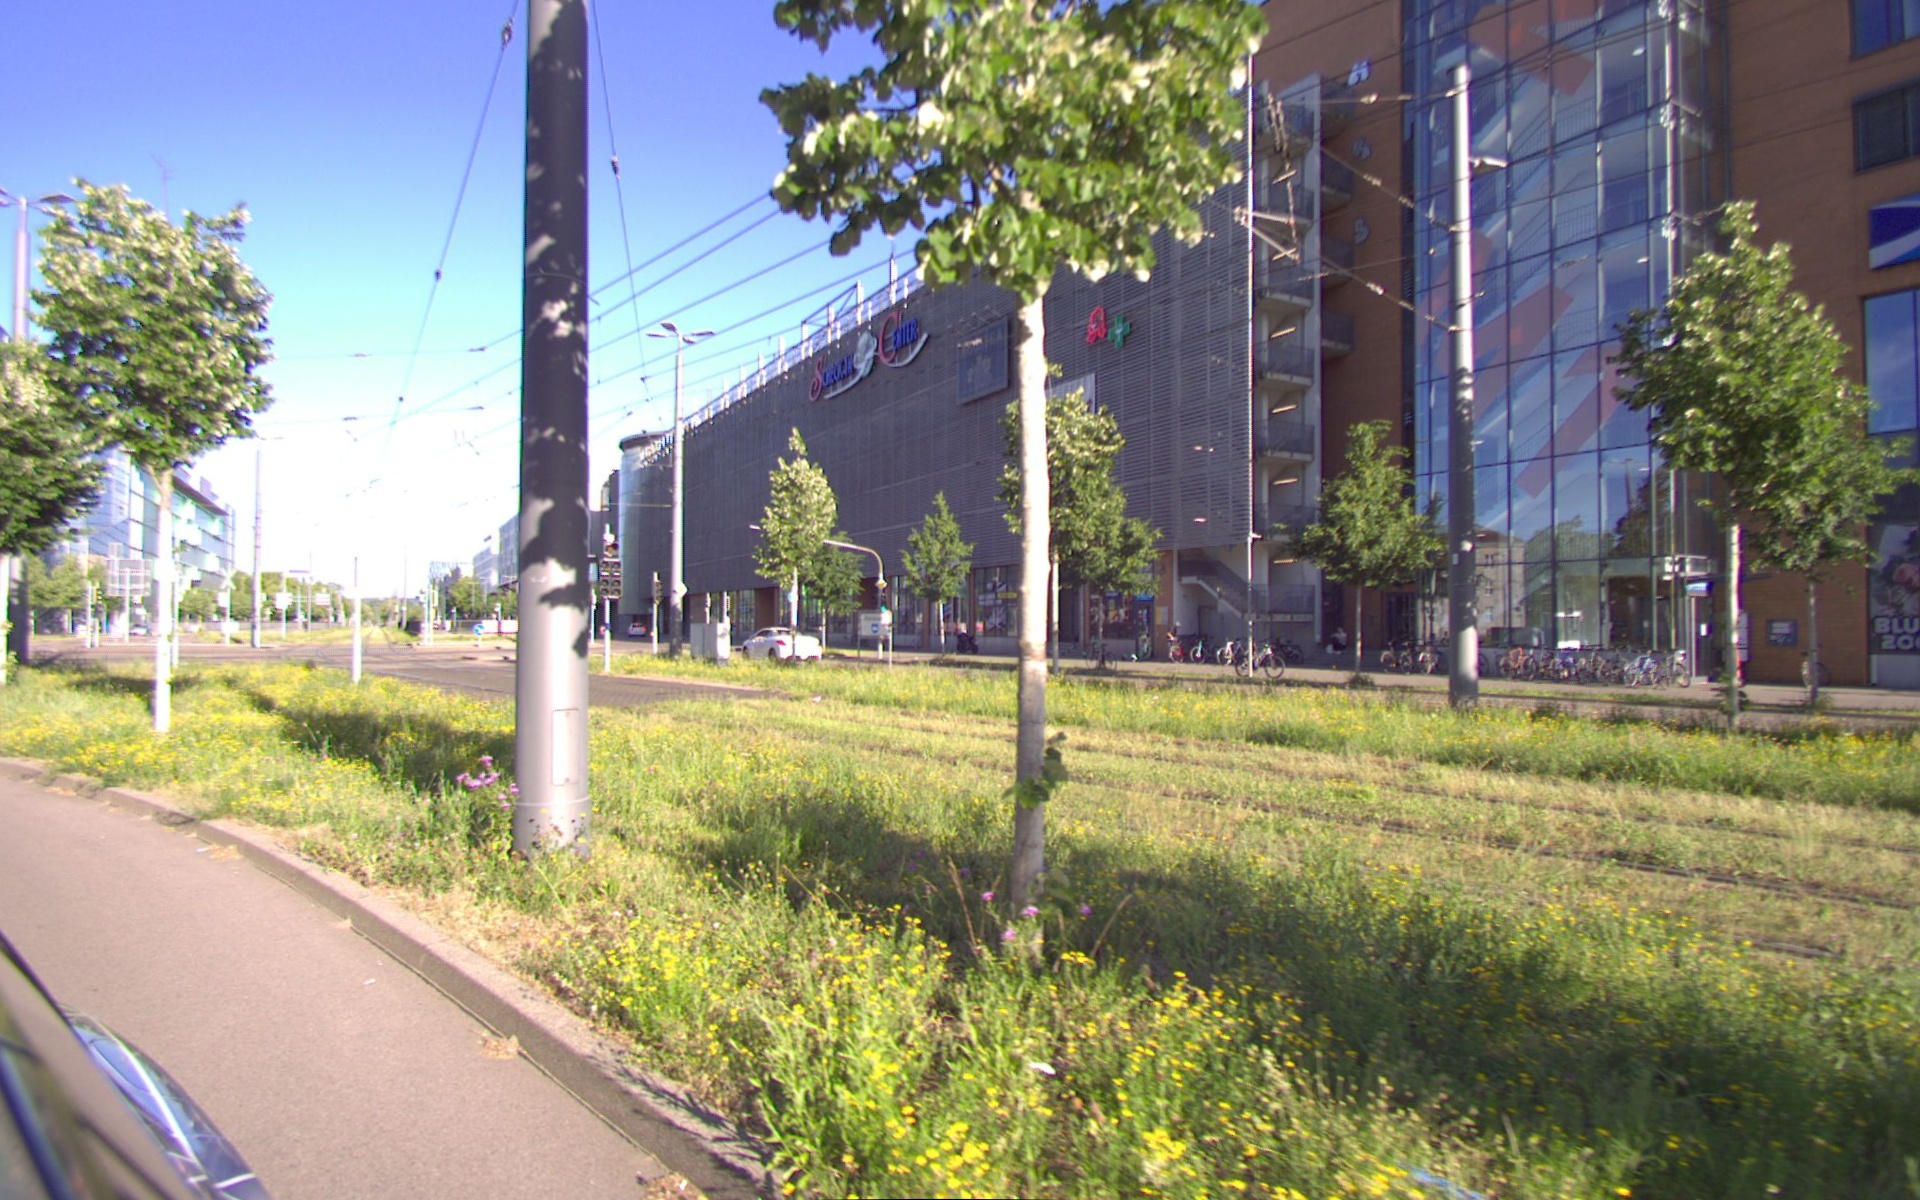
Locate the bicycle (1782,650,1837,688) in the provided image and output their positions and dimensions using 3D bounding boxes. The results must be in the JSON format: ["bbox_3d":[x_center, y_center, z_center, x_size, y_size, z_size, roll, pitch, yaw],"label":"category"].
[{"bbox_3d":[22.436,1.813,26.729,1.741,0.933,0.566,1,-2,-31],"label":"bicycle"}]

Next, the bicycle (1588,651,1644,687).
[{"bbox_3d":[18.137,1.897,27.965,1.741,0.933,0.566,1,-2,-31],"label":"bicycle"}]

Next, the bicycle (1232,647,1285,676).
[{"bbox_3d":[9.526,1.948,32.358,0.380,0.875,1.776,1,-2,-35],"label":"bicycle"}]

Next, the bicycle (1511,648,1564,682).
[{"bbox_3d":[16.984,1.892,29.773,1.741,0.933,0.566,1,-2,-31],"label":"bicycle"}]

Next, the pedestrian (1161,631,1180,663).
[{"bbox_3d":[8.505,1.894,40.956,0.442,1.299,0.631,1,-2,-35],"label":"pedestrian"}]

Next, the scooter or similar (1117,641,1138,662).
[{"bbox_3d":[7.168,2.203,43.235,0.891,0.900,0.290,0,-2,10],"label":"scooter or similar"}]

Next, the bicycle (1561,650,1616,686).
[{"bbox_3d":[17.731,1.906,28.536,1.741,0.933,0.566,1,-2,-31],"label":"bicycle"}]

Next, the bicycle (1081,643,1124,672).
[{"bbox_3d":[4.917,1.976,35.124,0.380,0.930,1.776,1,-2,-35],"label":"bicycle"}]

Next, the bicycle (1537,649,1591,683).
[{"bbox_3d":[17.397,1.883,29.129,1.741,0.933,0.566,1,-2,-31],"label":"bicycle"}]

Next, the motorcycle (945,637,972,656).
[{"bbox_3d":[-0.076,2.469,53.839,0.421,0.927,2.030,1,-2,-32],"label":"motorcycle"}]

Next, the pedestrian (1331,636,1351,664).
[{"bbox_3d":[14.521,1.905,38.597,0.619,1.063,0.450,1,-2,-35],"label":"pedestrian"}]

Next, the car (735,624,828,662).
[{"bbox_3d":[-6.765,1.583,38.011,1.782,1.338,4.416,2,-2,-35],"label":"car"}]

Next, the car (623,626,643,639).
[{"bbox_3d":[-35.010,3.453,108.225,1.663,1.382,3.602,1,-1,-24],"label":"car"}]

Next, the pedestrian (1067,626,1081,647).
[{"bbox_3d":[5.573,1.775,49.407,0.557,1.046,0.425,1,-2,-25],"label":"pedestrian"}]

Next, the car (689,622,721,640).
[{"bbox_3d":[-22.842,2.725,90.591,1.559,1.541,3.760,0,0,-35],"label":"car"}]

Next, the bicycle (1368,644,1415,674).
[{"bbox_3d":[14.349,1.959,33.647,1.741,0.933,0.492,1,-2,-31],"label":"bicycle"}]

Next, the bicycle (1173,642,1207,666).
[{"bbox_3d":[8.983,2.101,39.548,1.376,0.933,0.463,1,-2,-31],"label":"bicycle"}]

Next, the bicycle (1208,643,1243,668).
[{"bbox_3d":[10.093,2.108,38.463,1.376,0.933,0.463,1,-2,-31],"label":"bicycle"}]

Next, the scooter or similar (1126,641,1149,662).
[{"bbox_3d":[7.426,2.150,42.368,0.890,0.900,0.290,0,-2,6],"label":"scooter or similar"}]

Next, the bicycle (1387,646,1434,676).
[{"bbox_3d":[14.728,1.991,33.085,1.741,0.933,0.492,1,-2,-31],"label":"bicycle"}]

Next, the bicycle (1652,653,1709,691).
[{"bbox_3d":[18.933,1.879,26.590,1.741,0.933,0.566,1,-2,-31],"label":"bicycle"}]

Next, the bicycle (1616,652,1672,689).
[{"bbox_3d":[18.489,1.889,27.344,1.741,0.933,0.566,1,-2,-31],"label":"bicycle"}]

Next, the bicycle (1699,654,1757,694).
[{"bbox_3d":[19.533,1.866,25.732,1.741,0.933,0.566,1,-2,-31],"label":"bicycle"}]

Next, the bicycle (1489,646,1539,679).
[{"bbox_3d":[16.631,1.857,30.348,1.741,0.933,0.492,1,-2,-31],"label":"bicycle"}]

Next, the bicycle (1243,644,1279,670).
[{"bbox_3d":[11.149,2.089,37.464,1.376,0.933,0.463,1,-2,-31],"label":"bicycle"}]

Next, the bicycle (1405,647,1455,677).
[{"bbox_3d":[15.086,1.983,32.486,1.741,0.933,0.566,1,-2,-31],"label":"bicycle"}]

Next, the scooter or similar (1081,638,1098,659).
[{"bbox_3d":[5.867,2.196,45.890,0.286,0.900,0.904,1,-2,-30],"label":"scooter or similar"}]

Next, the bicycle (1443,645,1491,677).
[{"bbox_3d":[15.799,1.895,31.519,1.741,0.933,0.492,1,-2,-31],"label":"bicycle"}]
